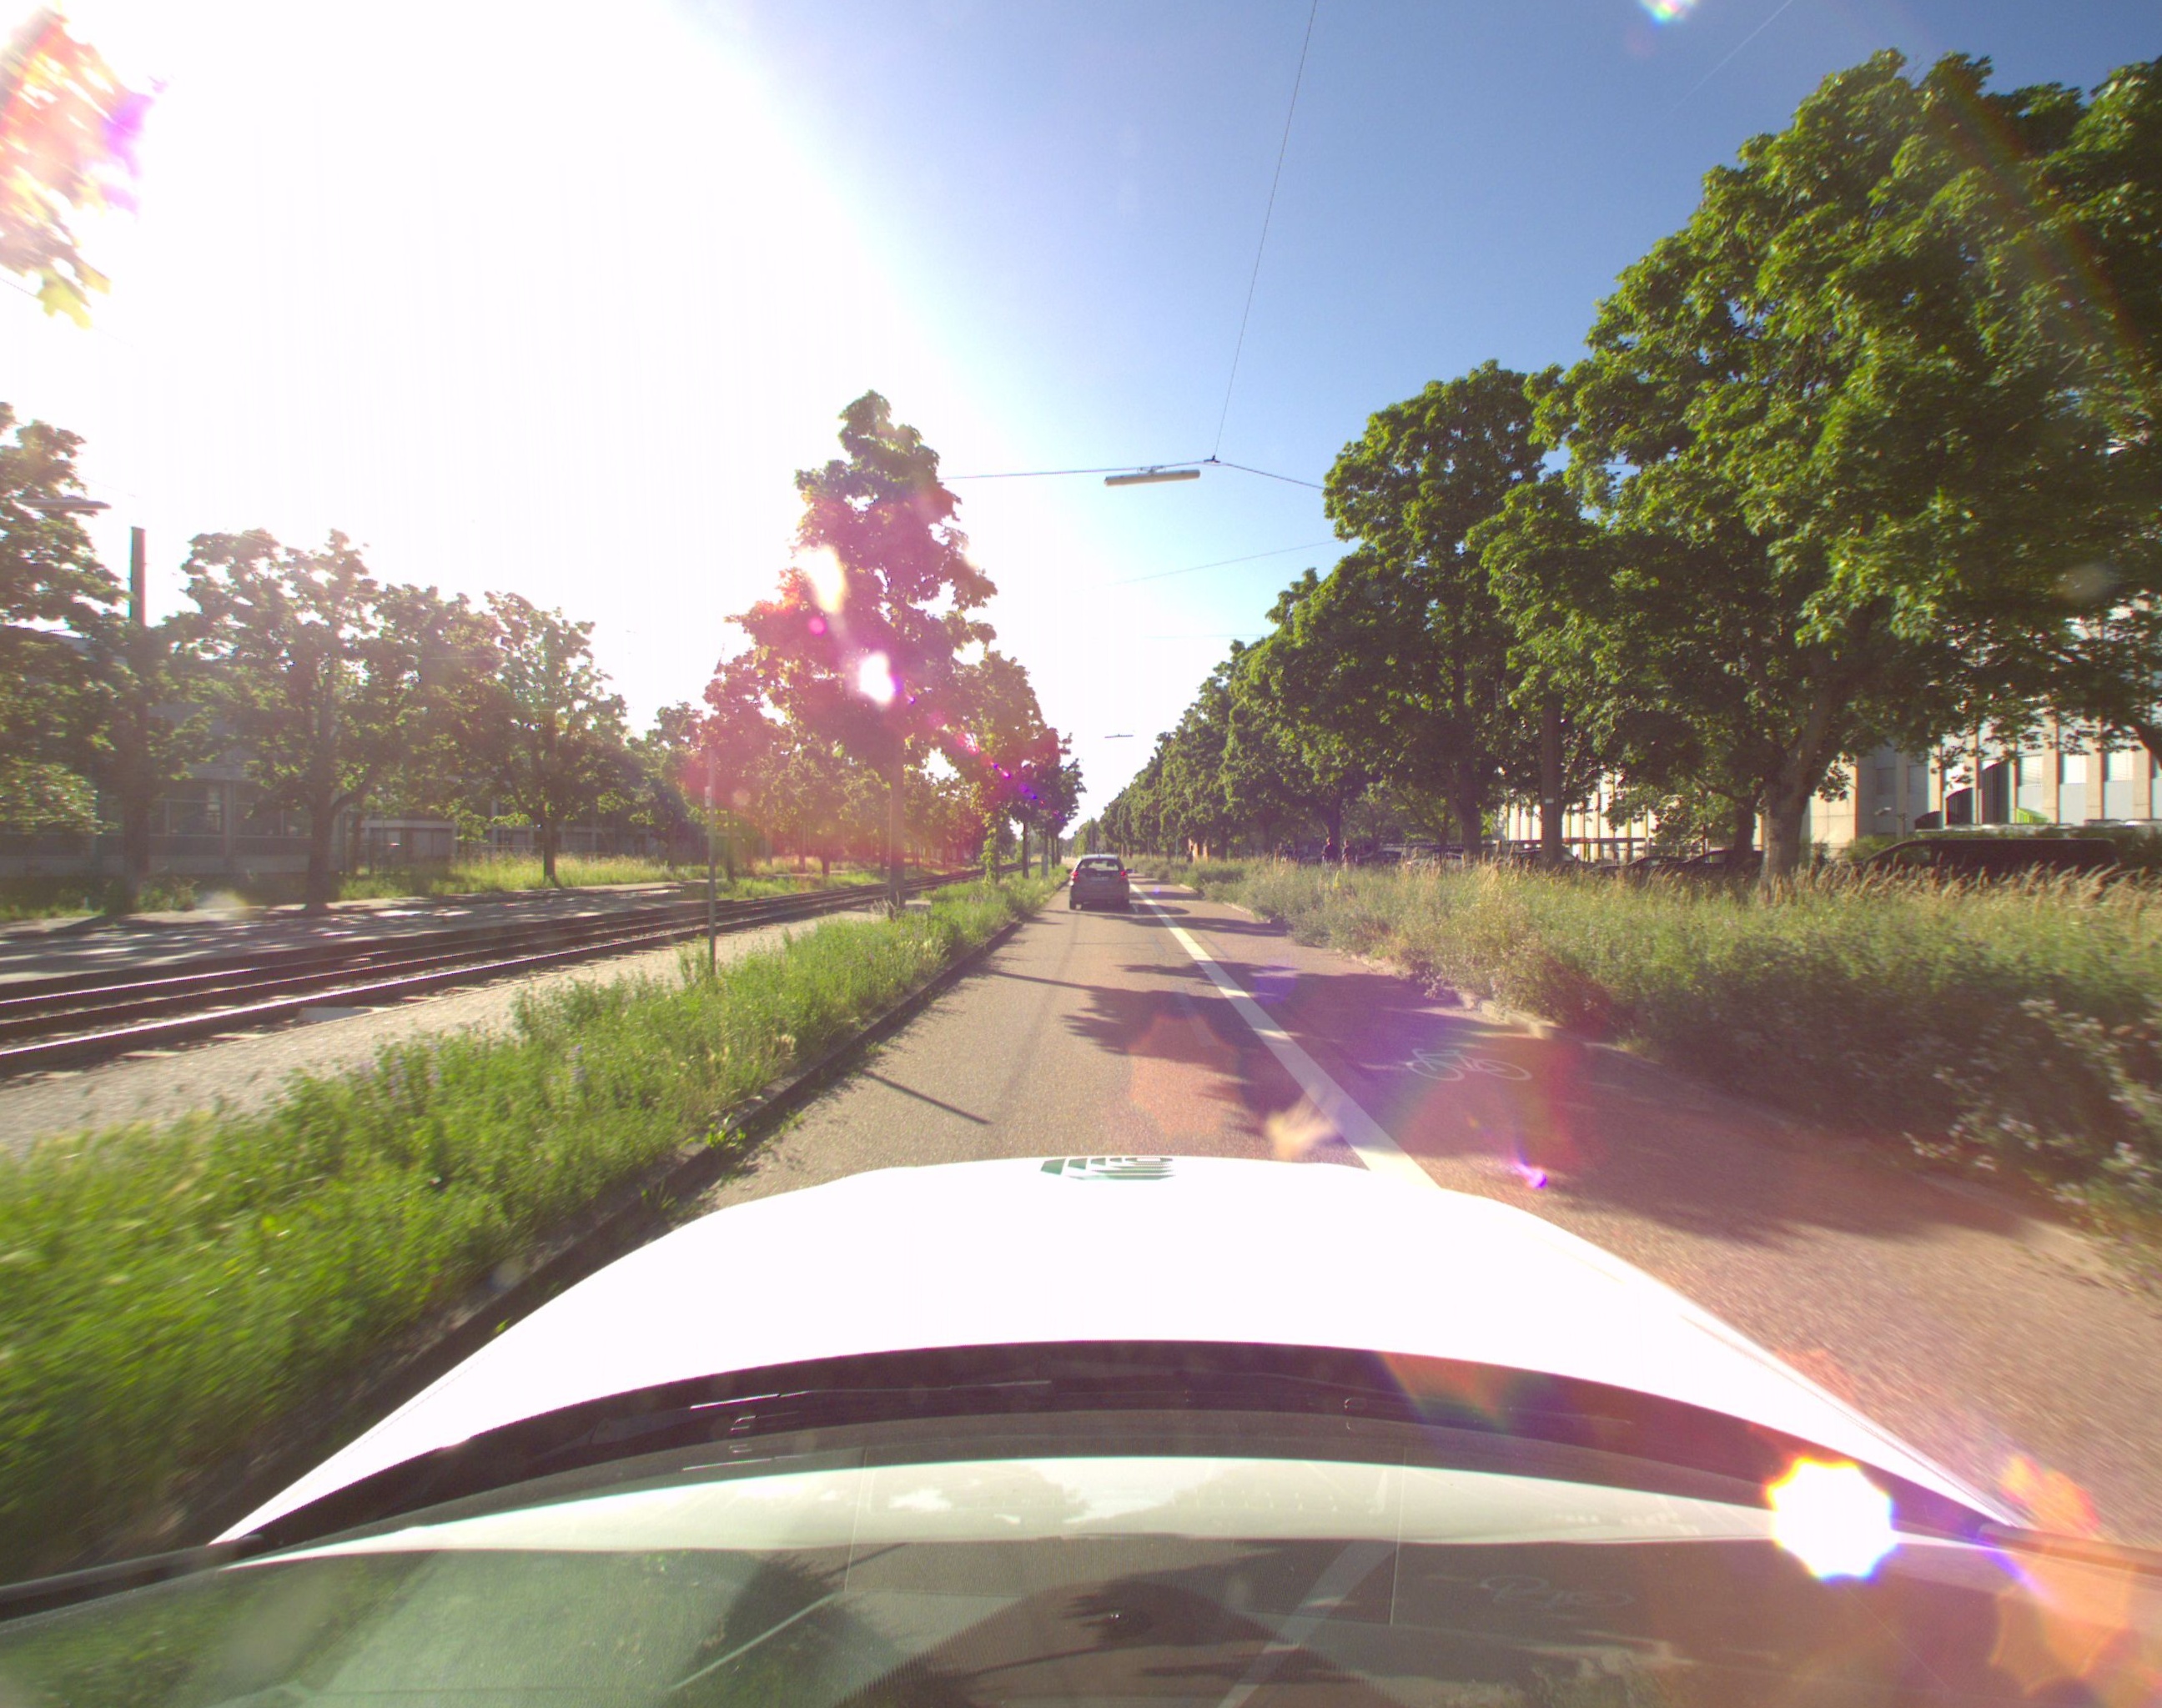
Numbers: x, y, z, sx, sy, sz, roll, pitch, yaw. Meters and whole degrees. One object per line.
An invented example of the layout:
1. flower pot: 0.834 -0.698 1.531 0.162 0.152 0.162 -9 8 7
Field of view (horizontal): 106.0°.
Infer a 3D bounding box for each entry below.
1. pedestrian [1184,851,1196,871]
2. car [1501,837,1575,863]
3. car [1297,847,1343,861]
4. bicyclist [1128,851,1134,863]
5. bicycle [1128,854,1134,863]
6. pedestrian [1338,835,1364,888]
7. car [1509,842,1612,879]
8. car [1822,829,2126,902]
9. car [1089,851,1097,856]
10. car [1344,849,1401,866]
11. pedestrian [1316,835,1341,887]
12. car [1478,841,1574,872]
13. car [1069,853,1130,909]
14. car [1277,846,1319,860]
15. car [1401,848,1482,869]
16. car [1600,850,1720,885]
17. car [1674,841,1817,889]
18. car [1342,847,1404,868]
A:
1. pedestrian: 8.700 0.534 65.093 0.821 1.569 0.762 0 0 1
2. car: 35.743 -0.282 63.762 4.734 1.950 1.974 -1 0 -1
3. car: 24.206 -0.023 82.600 4.147 1.432 1.826 0 0 3
4. bicyclist: 7.234 0.396 117.071 0.682 1.720 0.900 0 -1 -8
5. bicycle: 7.200 0.653 117.104 0.482 1.204 2.139 0 -2 -5
6. pedestrian: 10.007 0.277 30.208 0.705 1.930 0.817 0 0 2
7. car: 23.955 0.303 40.762 4.334 1.700 1.760 -1 0 -9
8. car: 23.852 0.276 22.100 1.929 1.752 5.391 0 0 -42
9. car: 3.589 -0.050 243.177 1.772 1.386 3.862 -1 0 -6
10. car: 25.351 0.299 70.956 4.272 1.324 1.943 -1 1 4
11. pedestrian: 9.166 0.252 30.147 0.705 1.918 0.817 0 0 2
12. car: 23.395 0.131 42.884 4.230 1.536 1.760 -1 0 -9
13. car: 0.493 0.719 23.587 1.619 1.499 3.456 0 0 0
14. car: 24.104 -0.115 90.538 4.338 1.459 1.690 0 0 3
15. car: 24.139 0.274 54.583 4.686 1.271 1.806 -1 1 -3
16. car: 23.836 0.520 33.593 3.936 1.341 1.719 0 0 38
17. car: 24.041 0.362 29.605 3.936 1.638 1.734 0 0 39
18. car: 23.614 0.271 65.919 4.382 1.596 1.882 0 0 -3
